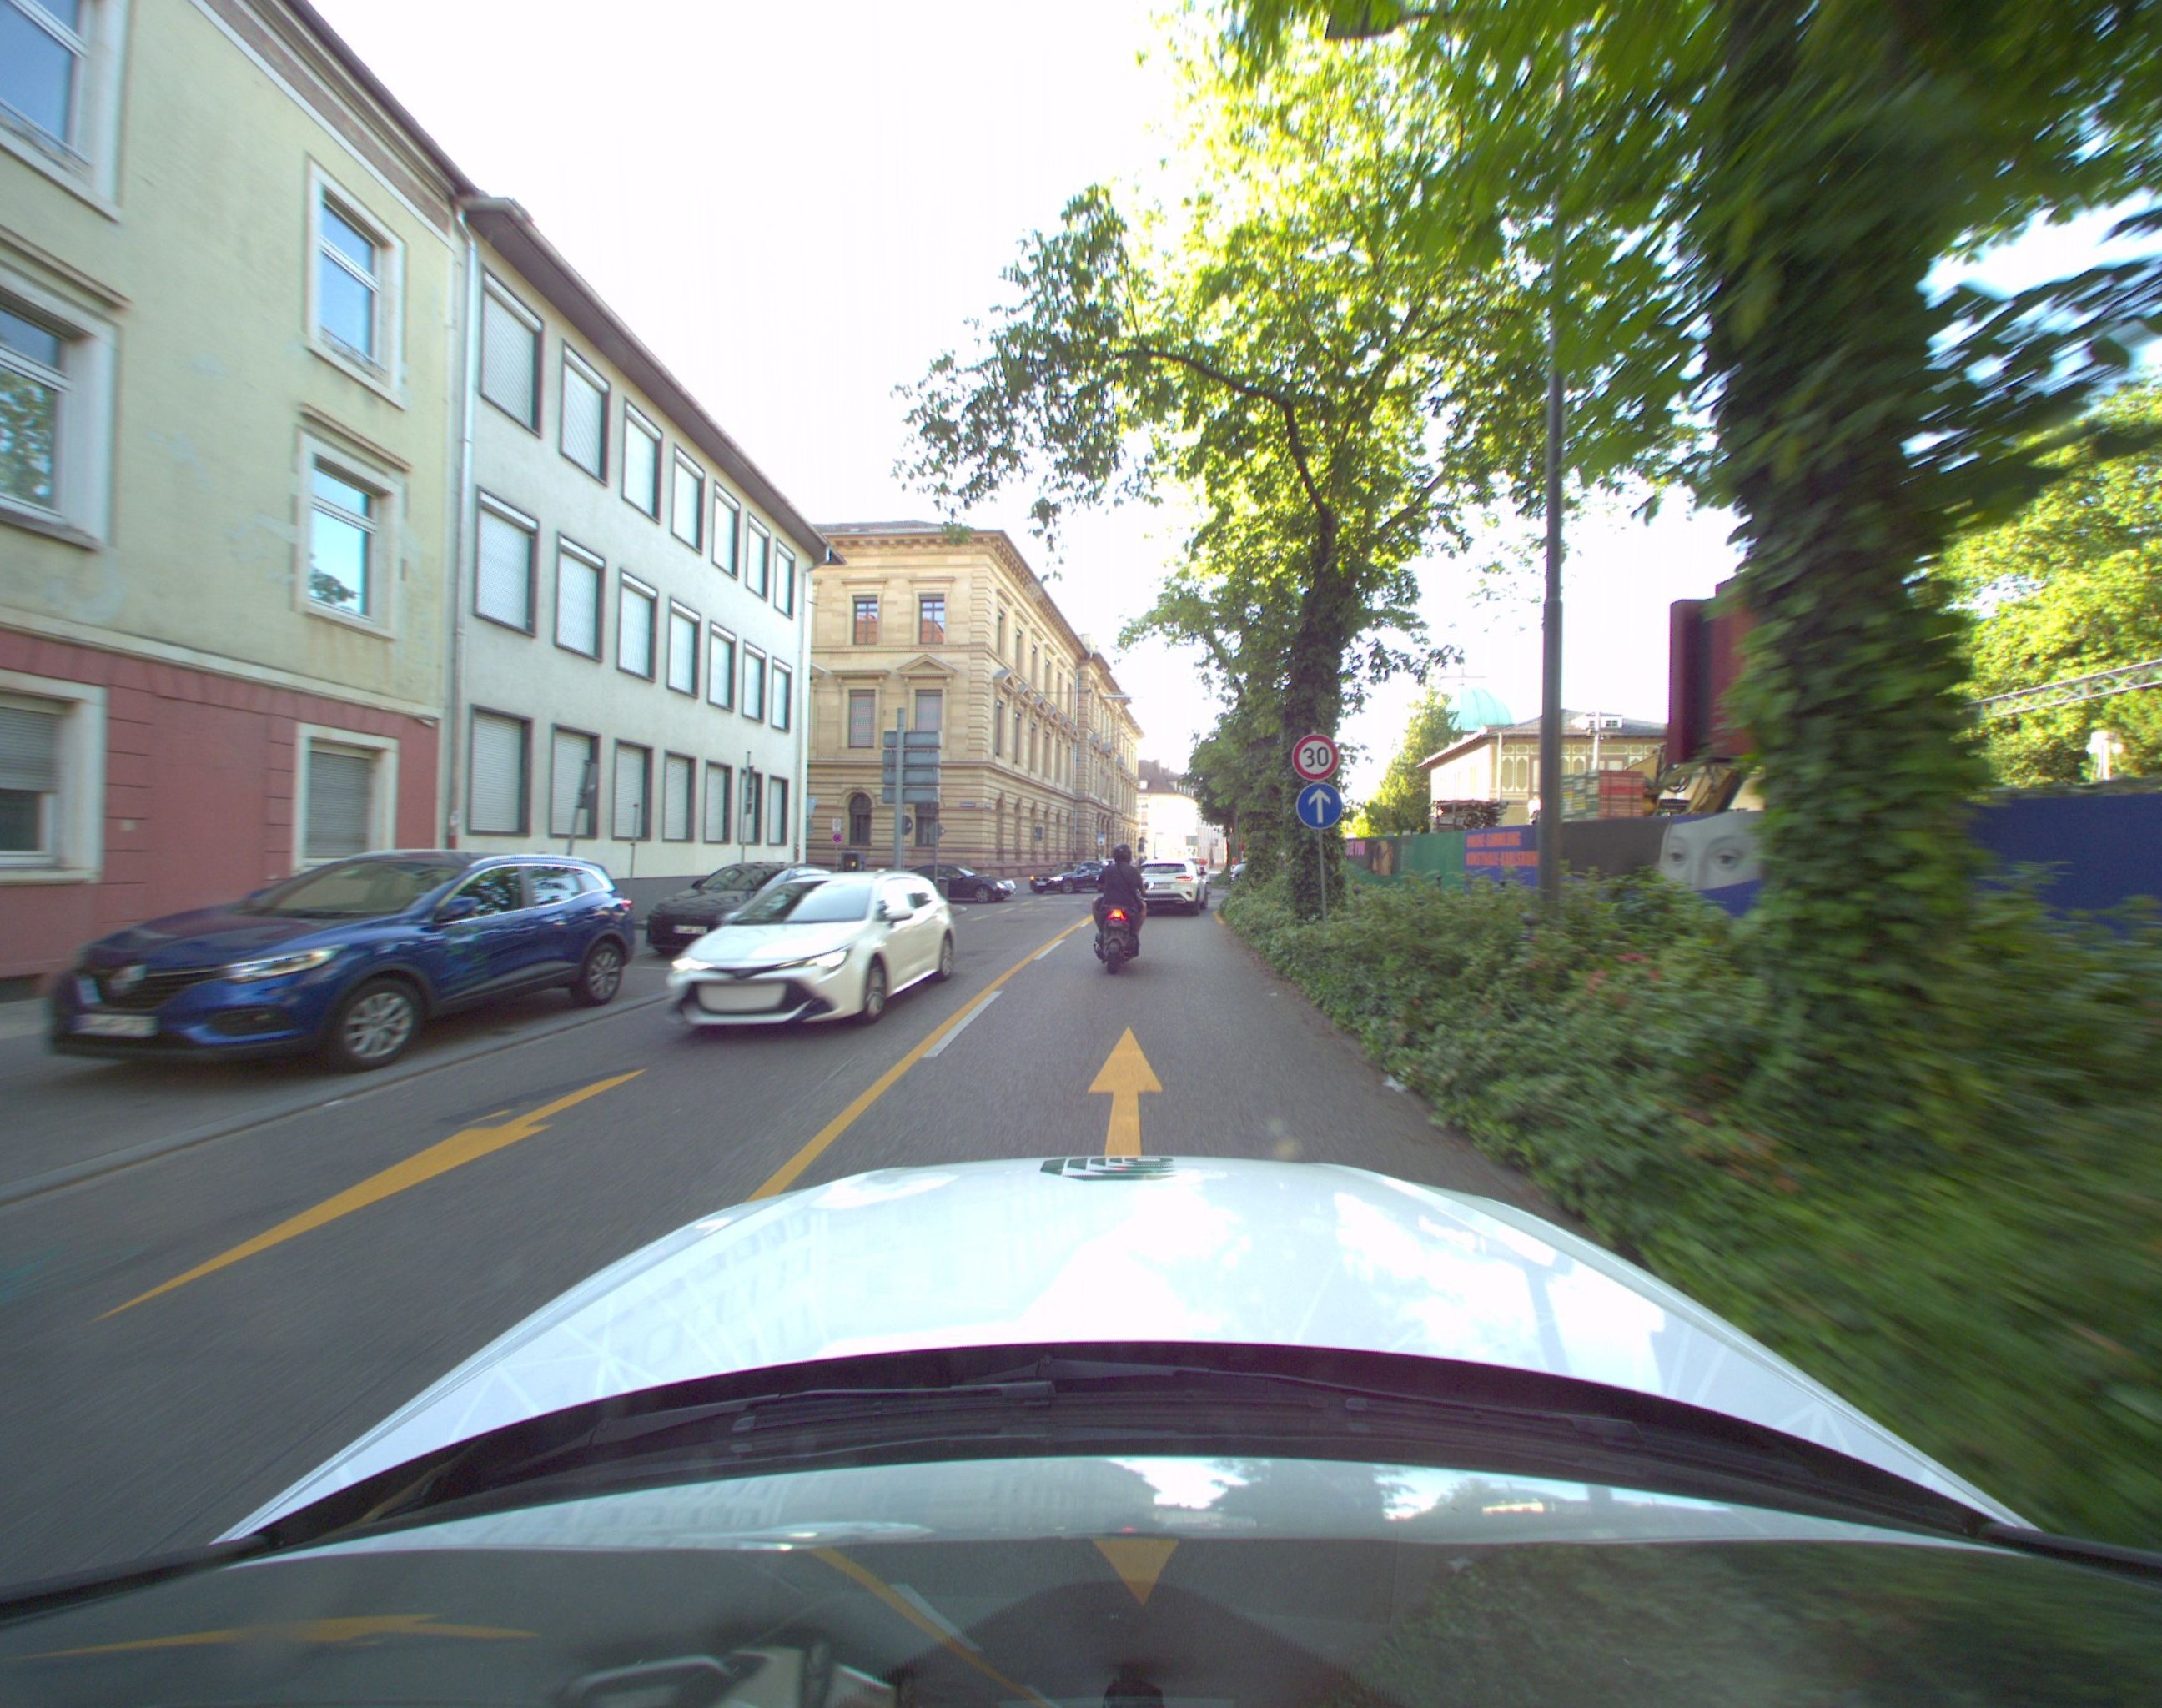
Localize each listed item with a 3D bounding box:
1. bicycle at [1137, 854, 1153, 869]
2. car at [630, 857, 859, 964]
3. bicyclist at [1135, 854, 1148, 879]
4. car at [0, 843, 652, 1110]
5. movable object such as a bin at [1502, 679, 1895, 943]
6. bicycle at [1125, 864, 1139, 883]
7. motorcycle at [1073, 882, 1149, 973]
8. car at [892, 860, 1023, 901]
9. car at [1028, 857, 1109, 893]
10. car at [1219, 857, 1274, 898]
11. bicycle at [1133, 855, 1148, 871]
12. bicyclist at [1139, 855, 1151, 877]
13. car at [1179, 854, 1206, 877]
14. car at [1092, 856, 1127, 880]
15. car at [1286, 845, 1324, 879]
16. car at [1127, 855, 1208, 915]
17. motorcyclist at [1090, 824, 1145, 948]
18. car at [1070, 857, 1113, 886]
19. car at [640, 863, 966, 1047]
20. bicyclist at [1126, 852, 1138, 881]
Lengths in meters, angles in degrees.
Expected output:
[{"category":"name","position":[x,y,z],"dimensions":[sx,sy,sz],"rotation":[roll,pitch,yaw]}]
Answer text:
[{"category":"bicycle","position":[4.588,0.532,58.020],"dimensions":[0.528,1.035,2.047],"rotation":[0,0,22]},{"category":"car","position":[-5.625,0.840,14.415],"dimensions":[1.816,1.503,4.763],"rotation":[2,0,3]},{"category":"bicyclist","position":[3.891,0.803,52.468],"dimensions":[0.623,1.613,0.873],"rotation":[0,0,17]},{"category":"car","position":[-6.057,0.764,7.296],"dimensions":[1.926,1.667,4.350],"rotation":[0,0,3]},{"category":"movable object such as a bin","position":[12.706,-0.743,18.061],"dimensions":[3.291,4.539,7.916],"rotation":[0,0,5]},{"category":"bicycle","position":[2.986,1.123,47.587],"dimensions":[0.579,1.035,2.134],"rotation":[0,0,9]},{"category":"motorcycle","position":[0.446,0.952,11.155],"dimensions":[0.792,1.066,1.729],"rotation":[2,0,9]},{"category":"car","position":[-4.419,0.941,29.333],"dimensions":[4.284,1.390,1.782],"rotation":[0,0,12]},{"category":"car","position":[-0.482,0.882,36.425],"dimensions":[1.754,1.461,4.496],"rotation":[0,0,26]},{"category":"car","position":[6.623,0.874,32.247],"dimensions":[1.827,1.463,4.074],"rotation":[2,0,15]},{"category":"bicycle","position":[3.843,0.557,52.497],"dimensions":[0.529,1.035,1.915],"rotation":[0,0,17]},{"category":"bicyclist","position":[4.555,0.828,58.052],"dimensions":[0.623,1.554,0.736],"rotation":[0,0,22]},{"category":"car","position":[8.583,0.881,62.896],"dimensions":[1.983,1.695,4.408],"rotation":[0,0,7]},{"category":"car","position":[1.915,0.899,53.502],"dimensions":[1.983,1.528,4.192],"rotation":[0,0,7]},{"category":"car","position":[13.647,0.495,49.722],"dimensions":[1.829,1.912,4.069],"rotation":[2,0,10]},{"category":"car","position":[2.482,0.796,22.519],"dimensions":[1.839,1.480,4.070],"rotation":[-1,0,11]},{"category":"motorcyclist","position":[0.511,0.433,11.282],"dimensions":[0.653,1.650,0.652],"rotation":[2,0,7]},{"category":"car","position":[0.636,0.959,46.272],"dimensions":[1.983,1.567,4.297],"rotation":[0,0,7]},{"category":"car","position":[-2.641,0.870,9.008],"dimensions":[1.727,1.421,4.434],"rotation":[-3,0,4]},{"category":"bicyclist","position":[2.966,0.745,47.388],"dimensions":[0.563,1.667,0.836],"rotation":[0,0,9]}]
